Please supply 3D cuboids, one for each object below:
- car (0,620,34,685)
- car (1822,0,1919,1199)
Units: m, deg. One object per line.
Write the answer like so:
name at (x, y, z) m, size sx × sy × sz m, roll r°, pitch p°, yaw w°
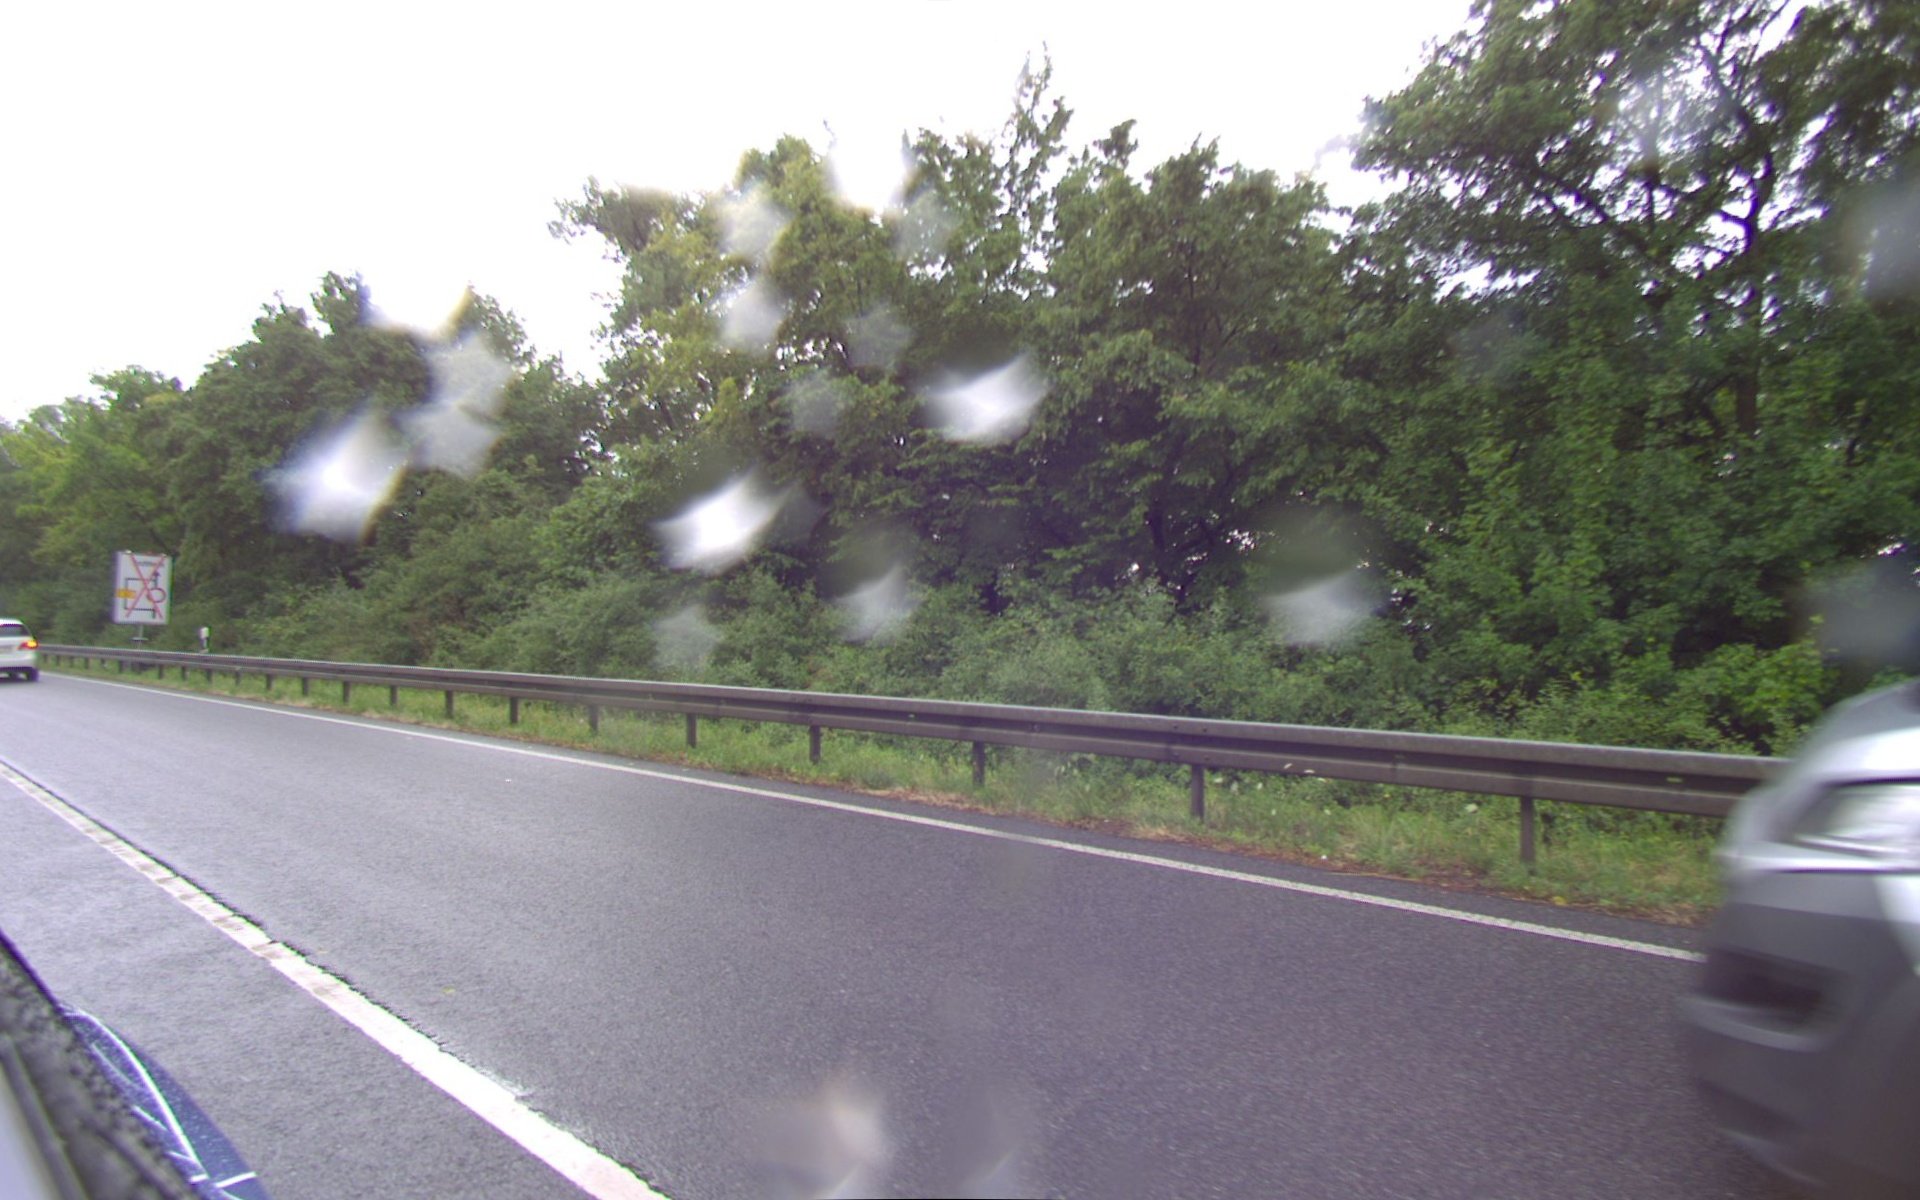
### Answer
car at (-25.169, 1.312, 25.855) m, size 4.438 × 1.567 × 1.674 m, roll -1°, pitch 0°, yaw 40°
car at (4.541, -0.074, 0.550) m, size 6.169 × 2.697 × 2.026 m, roll -1°, pitch -1°, yaw 41°
